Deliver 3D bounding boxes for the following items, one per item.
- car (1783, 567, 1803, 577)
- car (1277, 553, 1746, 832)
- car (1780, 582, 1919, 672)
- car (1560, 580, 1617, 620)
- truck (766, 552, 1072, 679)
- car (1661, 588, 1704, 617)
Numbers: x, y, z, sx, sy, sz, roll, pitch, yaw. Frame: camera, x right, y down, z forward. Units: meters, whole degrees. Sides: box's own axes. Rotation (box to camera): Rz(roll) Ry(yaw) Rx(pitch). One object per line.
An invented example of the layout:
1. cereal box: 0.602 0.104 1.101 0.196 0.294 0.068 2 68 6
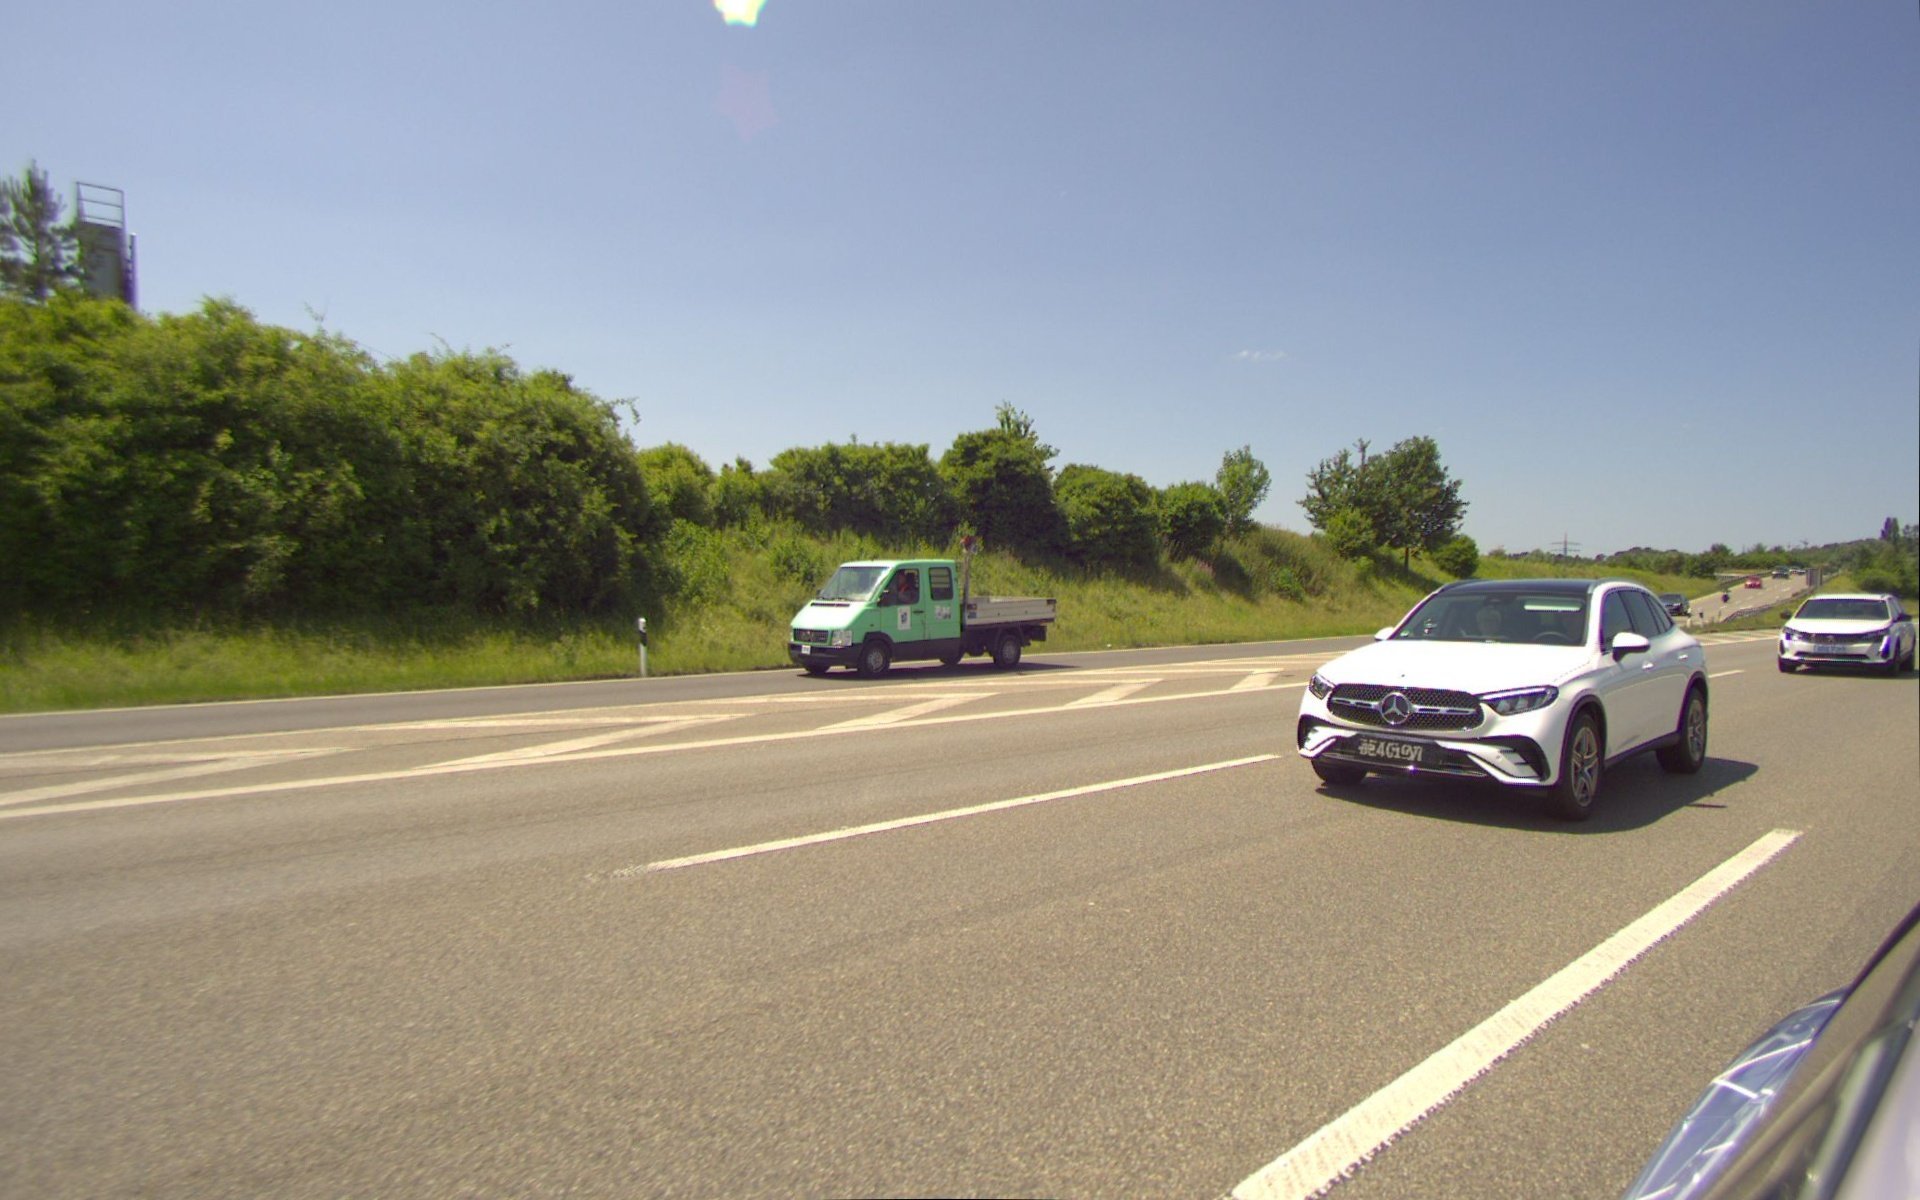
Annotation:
1. car: 134.274 -4.527 163.090 4.539 1.650 1.980 -1 1 -43
2. car: 4.692 0.521 8.288 4.556 1.676 1.908 -1 1 -41
3. car: 18.742 0.477 21.063 4.538 1.650 1.896 -1 1 -42
4. car: 35.926 -0.019 57.782 1.992 2.199 4.819 1 1 42
5. truck: -0.607 0.212 19.713 6.015 2.118 2.167 0 1 -43
6. car: 54.718 0.156 76.638 3.935 2.039 1.995 -2 1 -44
